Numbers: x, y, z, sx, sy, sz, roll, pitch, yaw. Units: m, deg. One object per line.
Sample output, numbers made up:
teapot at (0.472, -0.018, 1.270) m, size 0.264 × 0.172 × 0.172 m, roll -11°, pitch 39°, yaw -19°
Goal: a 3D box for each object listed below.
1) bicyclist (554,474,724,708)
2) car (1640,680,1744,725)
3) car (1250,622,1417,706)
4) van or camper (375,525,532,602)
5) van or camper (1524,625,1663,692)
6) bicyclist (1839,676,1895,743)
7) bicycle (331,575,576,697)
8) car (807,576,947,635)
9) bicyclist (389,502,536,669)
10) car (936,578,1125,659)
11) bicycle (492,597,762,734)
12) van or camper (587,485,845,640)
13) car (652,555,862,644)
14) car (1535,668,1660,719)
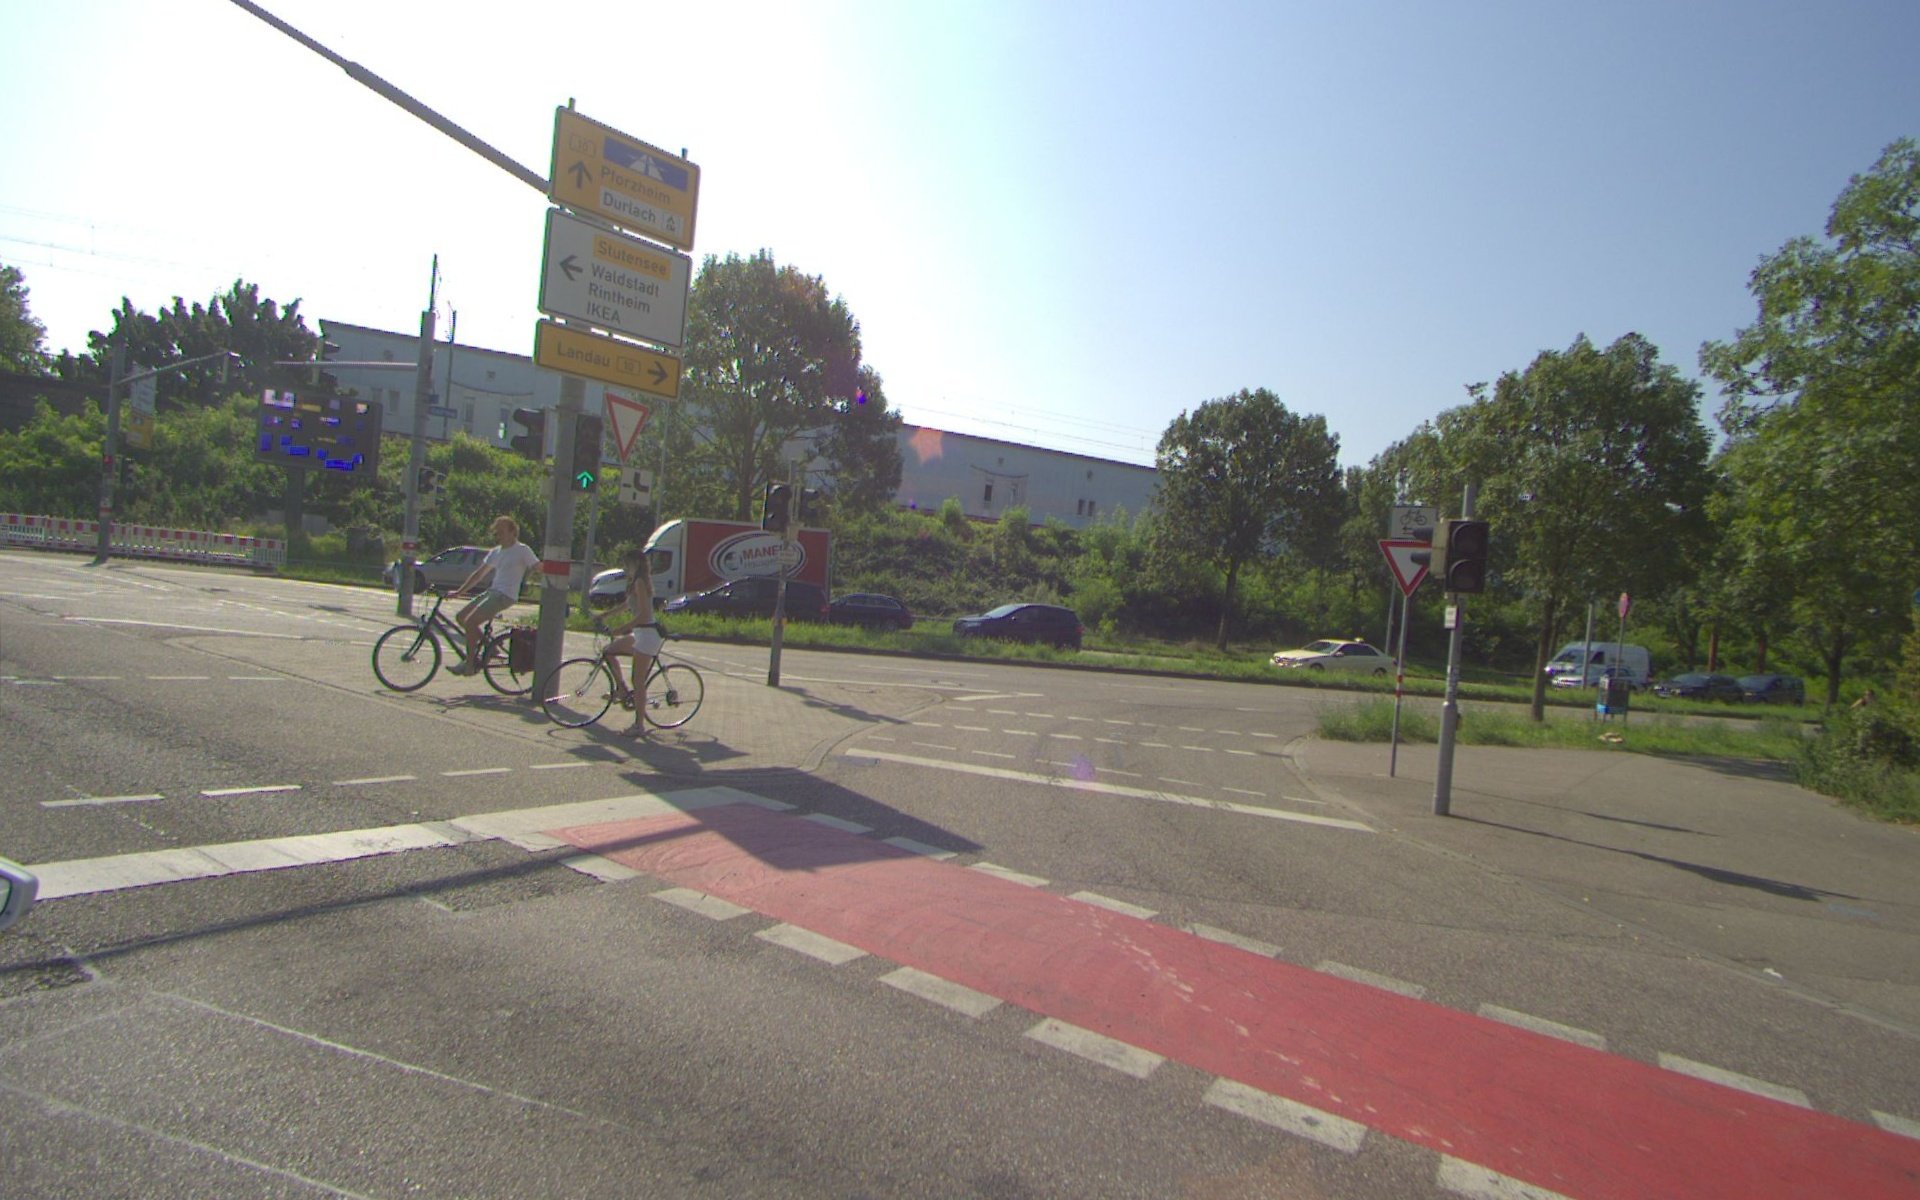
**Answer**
bicyclist at (-3.040, -0.055, 9.571) m, size 1.196 × 2.037 × 0.591 m, roll 8°, pitch -1°, yaw -39°
car at (30.552, 4.270, 41.992) m, size 3.701 × 1.414 × 1.651 m, roll 7°, pitch -2°, yaw -19°
car at (13.143, 2.248, 35.395) m, size 5.152 × 2.287 × 2.240 m, roll 8°, pitch -2°, yaw -21°
van or camper at (-15.904, -1.097, 31.822) m, size 4.119 × 1.797 × 1.843 m, roll 8°, pitch -2°, yaw -22°
van or camper at (31.414, 2.905, 49.830) m, size 6.776 × 2.511 × 2.238 m, roll 8°, pitch -2°, yaw -23°
bicyclist at (20.293, 2.442, 22.511) m, size 0.684 × 1.380 × 0.503 m, roll 7°, pitch -1°, yaw -1°
bicycle at (-5.387, 0.410, 10.780) m, size 2.199 × 1.101 × 0.765 m, roll 6°, pitch 1°, yaw -35°
car at (-3.098, 0.230, 37.460) m, size 4.701 × 1.555 × 2.079 m, roll 8°, pitch -2°, yaw -21°
bicyclist at (-5.345, -0.132, 10.823) m, size 1.194 × 1.612 × 0.592 m, roll 8°, pitch -1°, yaw -35°
car at (2.134, 0.577, 30.360) m, size 5.152 × 1.760 × 2.137 m, roll 8°, pitch -2°, yaw -21°
bicycle at (-3.128, 0.656, 9.623) m, size 2.246 × 1.100 × 0.764 m, roll 7°, pitch -1°, yaw -40°
van or camper at (-7.066, -0.975, 29.217) m, size 6.757 × 3.401 × 2.240 m, roll 8°, pitch -2°, yaw -21°
car at (-5.408, 0.027, 26.850) m, size 5.125 × 1.632 × 1.898 m, roll 8°, pitch -2°, yaw -21°
car at (28.566, 4.168, 45.097) m, size 4.907 × 1.628 × 2.157 m, roll 8°, pitch -2°, yaw -21°
